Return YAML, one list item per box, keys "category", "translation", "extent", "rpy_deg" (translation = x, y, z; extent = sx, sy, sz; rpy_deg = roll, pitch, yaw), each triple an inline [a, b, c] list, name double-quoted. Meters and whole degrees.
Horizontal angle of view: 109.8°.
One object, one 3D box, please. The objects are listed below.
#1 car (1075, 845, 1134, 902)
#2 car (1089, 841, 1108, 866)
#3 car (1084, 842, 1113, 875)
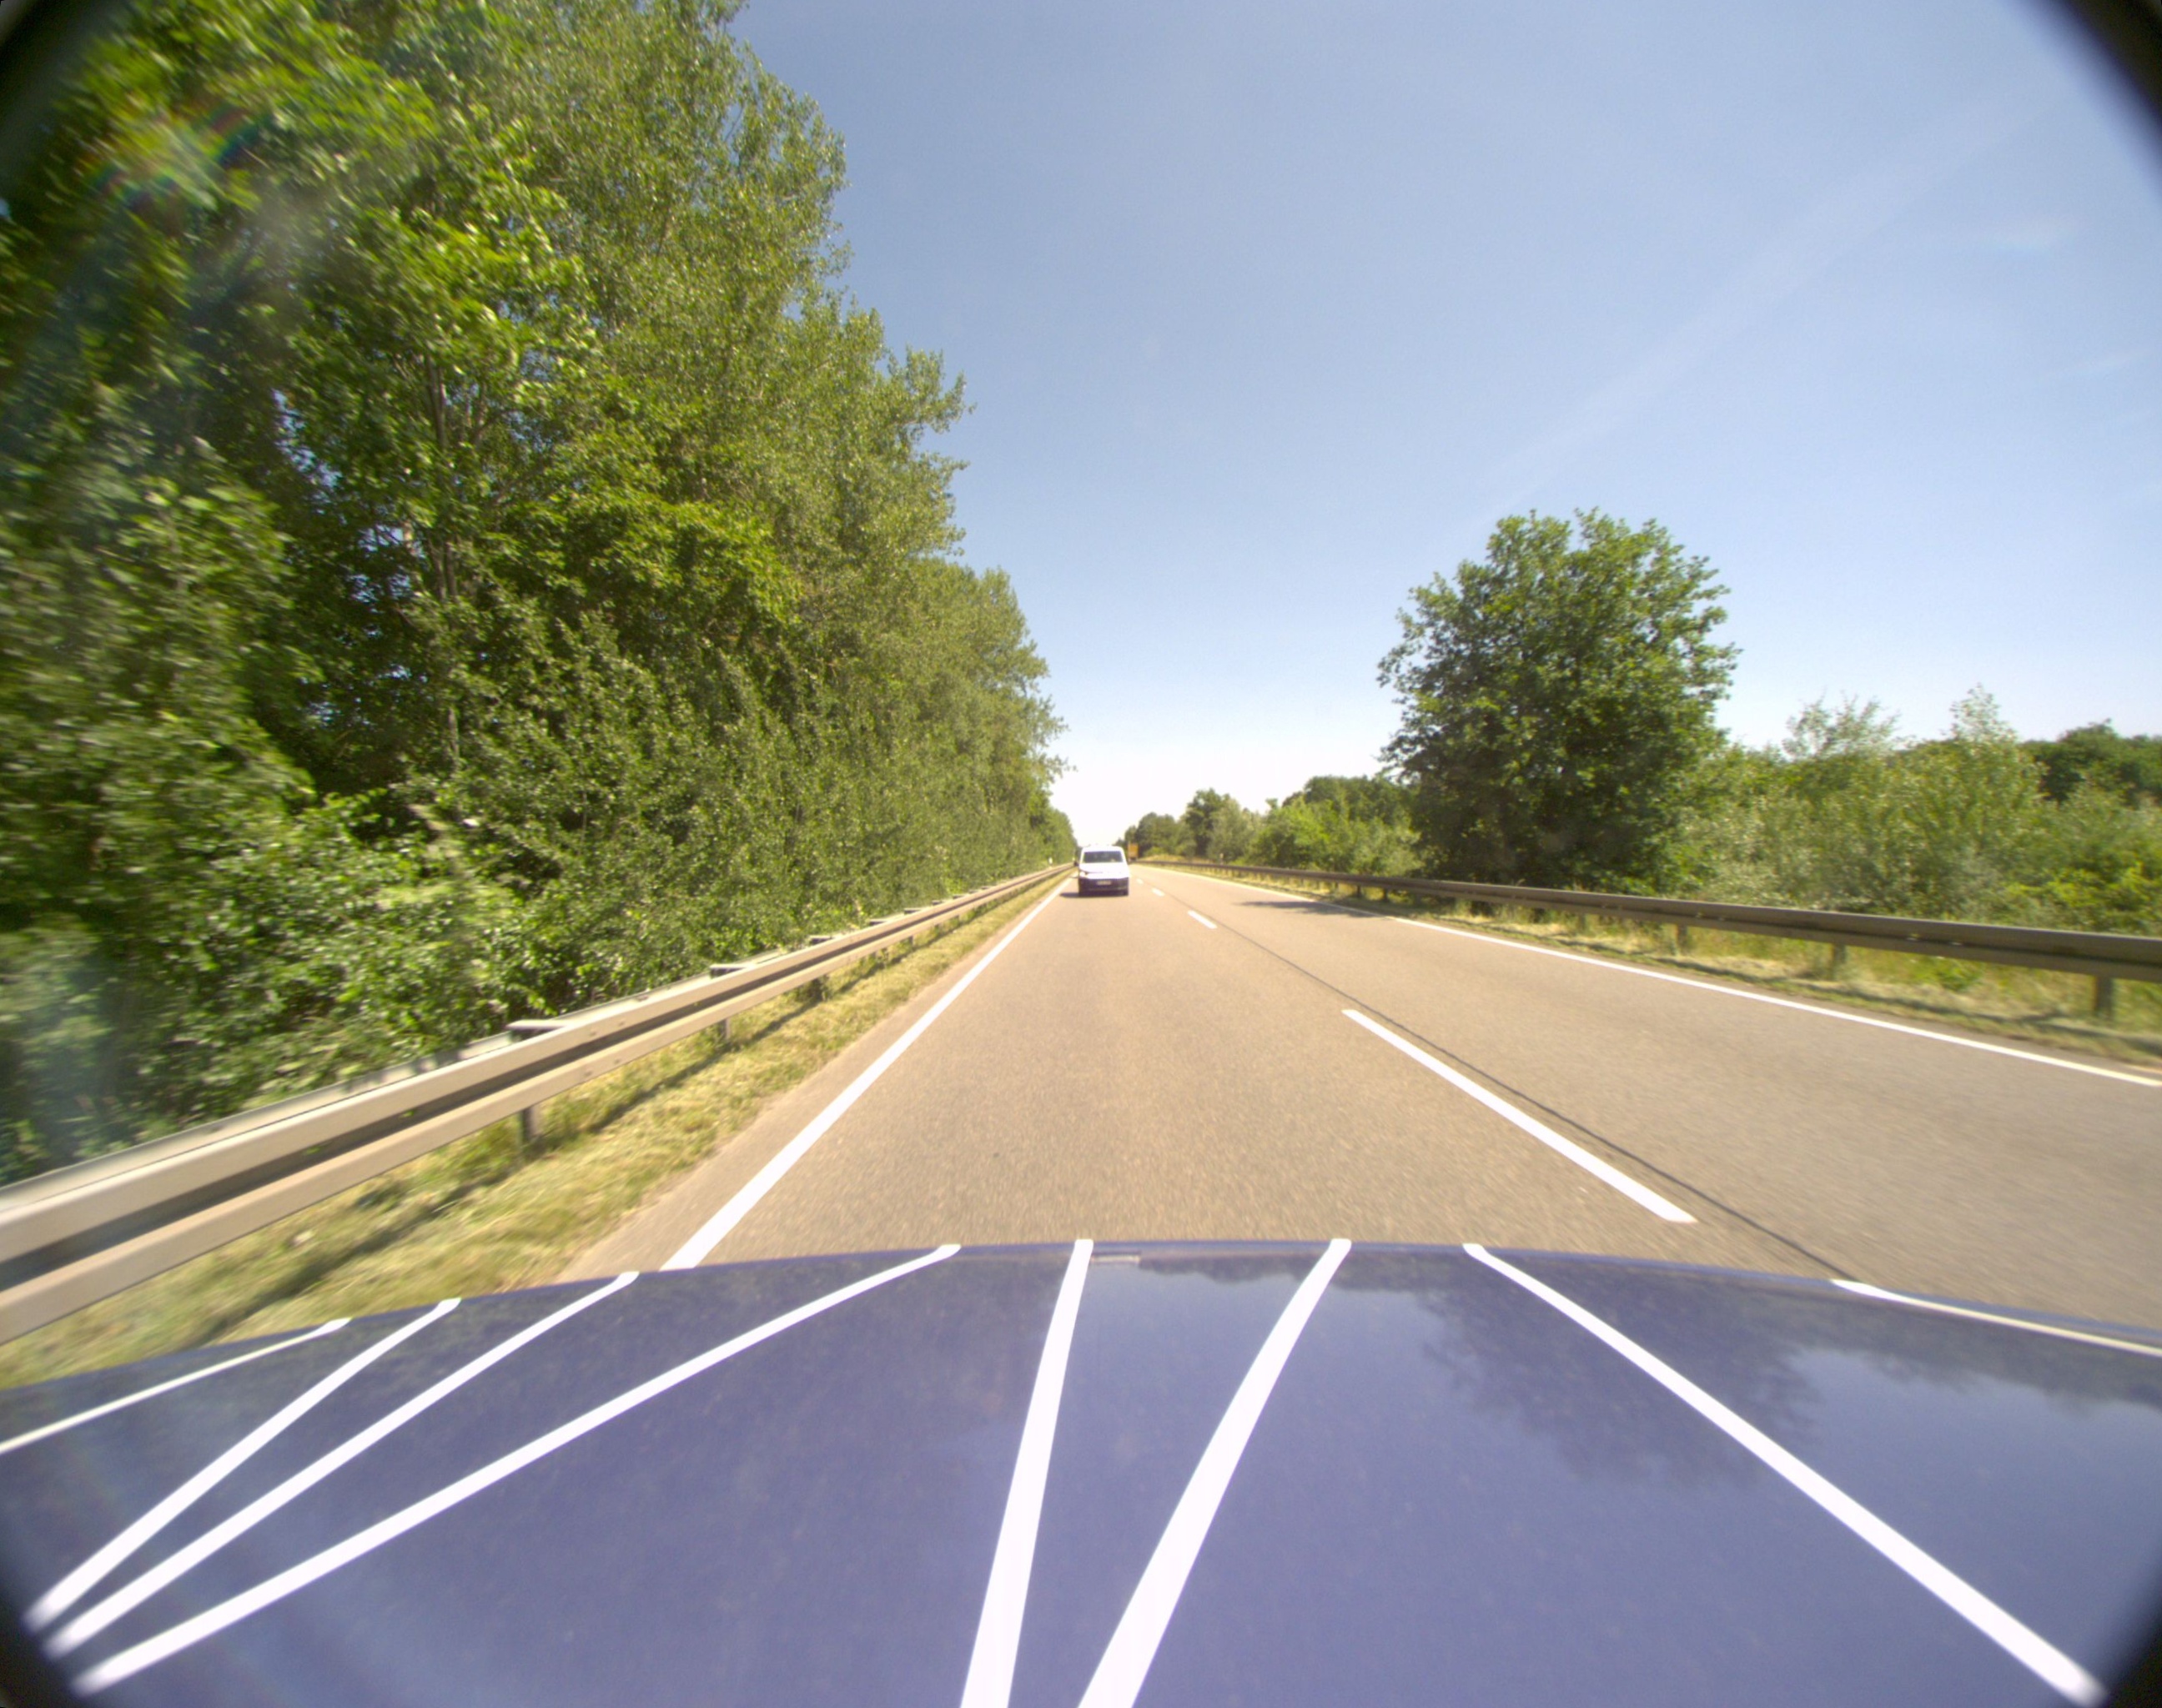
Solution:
- category: "car"
  translation: [0.805, 0.601, 26.200]
  extent: [1.782, 1.743, 4.512]
  rpy_deg: [-2, 0, 2]
- category: "car"
  translation: [1.703, -0.055, 73.700]
  extent: [1.782, 2.287, 4.106]
  rpy_deg: [-2, 0, 2]
- category: "car"
  translation: [1.151, 0.267, 49.345]
  extent: [1.782, 1.960, 4.106]
  rpy_deg: [-2, 0, 2]
